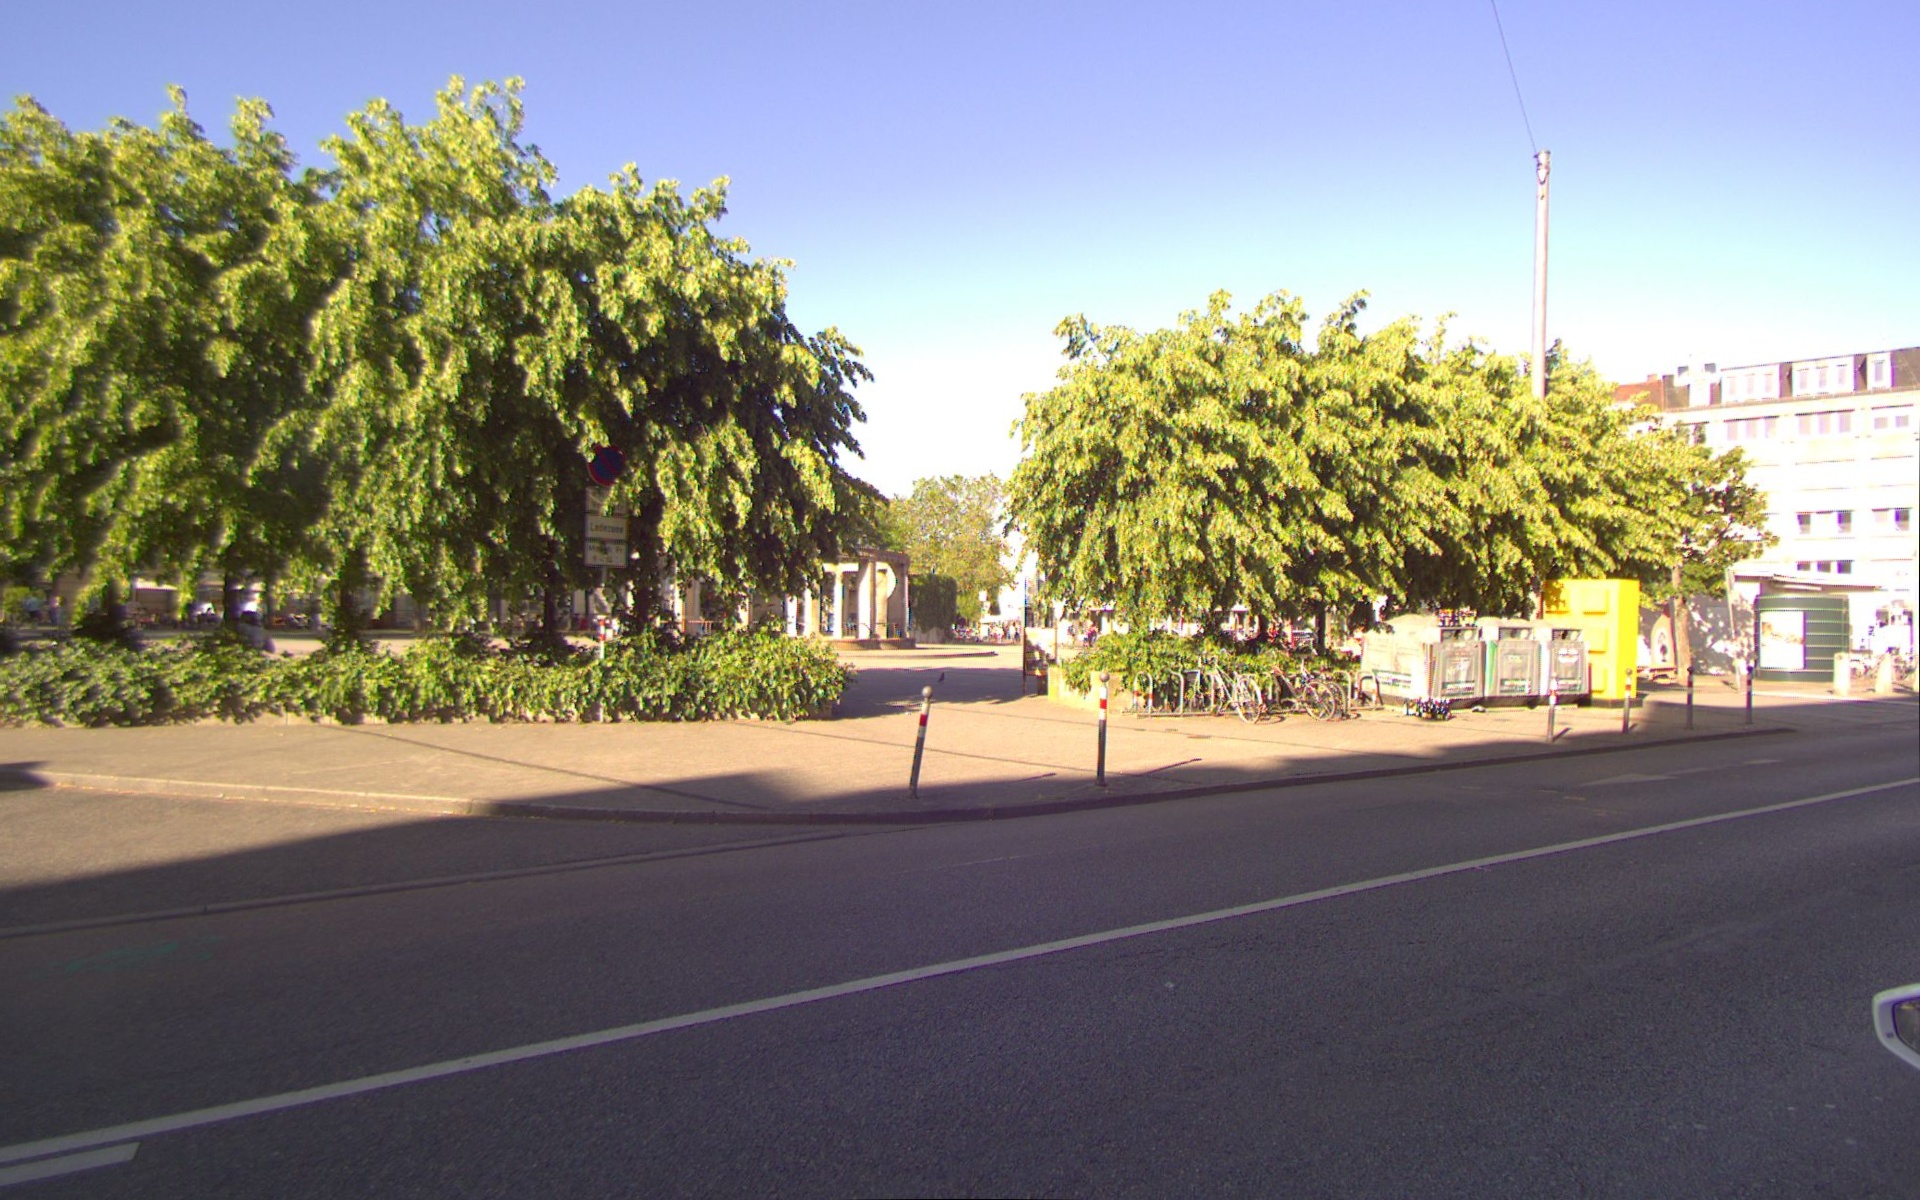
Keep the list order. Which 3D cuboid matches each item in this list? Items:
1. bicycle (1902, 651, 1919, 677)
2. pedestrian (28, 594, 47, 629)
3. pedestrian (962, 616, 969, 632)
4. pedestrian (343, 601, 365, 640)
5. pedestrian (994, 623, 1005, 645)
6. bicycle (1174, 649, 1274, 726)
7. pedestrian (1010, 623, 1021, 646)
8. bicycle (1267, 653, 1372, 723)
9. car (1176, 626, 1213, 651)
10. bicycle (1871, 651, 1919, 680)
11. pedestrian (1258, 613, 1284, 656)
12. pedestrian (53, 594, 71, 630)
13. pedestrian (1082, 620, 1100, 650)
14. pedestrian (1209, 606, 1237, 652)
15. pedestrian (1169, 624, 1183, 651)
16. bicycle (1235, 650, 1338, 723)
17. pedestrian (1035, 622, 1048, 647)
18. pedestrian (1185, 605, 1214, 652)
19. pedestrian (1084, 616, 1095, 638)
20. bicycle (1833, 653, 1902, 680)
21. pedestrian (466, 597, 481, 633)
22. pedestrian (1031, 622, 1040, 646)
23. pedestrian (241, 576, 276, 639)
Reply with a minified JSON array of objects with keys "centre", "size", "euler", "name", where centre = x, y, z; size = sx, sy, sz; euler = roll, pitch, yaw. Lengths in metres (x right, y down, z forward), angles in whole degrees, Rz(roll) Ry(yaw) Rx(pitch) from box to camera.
[{"centre":[35.166,2.339,36.061],"size":[0.599,0.946,1.854],"euler":[2,0,-30],"name":"bicycle"},{"centre":[-46.165,0.574,50.277],"size":[0.600,1.744,0.643],"euler":[2,0,45],"name":"pedestrian"},{"centre":[0.707,2.877,120.068],"size":[0.629,1.974,0.675],"euler":[2,0,-14],"name":"pedestrian"},{"centre":[-26.928,0.910,44.618],"size":[0.599,1.744,0.644],"euler":[2,0,37],"name":"pedestrian"},{"centre":[3.743,3.194,94.802],"size":[0.860,2.040,0.902],"euler":[2,0,-5],"name":"pedestrian"},{"centre":[4.072,1.330,15.657],"size":[0.508,1.029,1.930],"euler":[2,0,-19],"name":"bicycle"},{"centre":[4.582,2.876,83.113],"size":[0.718,1.862,0.697],"euler":[2,0,-5],"name":"pedestrian"},{"centre":[5.828,1.405,16.419],"size":[0.508,0.968,1.898],"euler":[2,0,-20],"name":"bicycle"},{"centre":[14.304,2.351,61.428],"size":[1.658,1.405,3.575],"euler":[1,-1,5],"name":"car"},{"centre":[33.186,2.297,35.119],"size":[0.599,0.946,1.855],"euler":[1,0,-30],"name":"bicycle"},{"centre":[12.894,1.419,41.614],"size":[0.774,1.720,0.763],"euler":[1,0,-6],"name":"pedestrian"},{"centre":[-45.111,0.598,50.462],"size":[0.600,1.744,0.643],"euler":[2,0,45],"name":"pedestrian"},{"centre":[9.050,2.392,69.575],"size":[1.014,2.040,1.159],"euler":[1,0,-5],"name":"pedestrian"},{"centre":[11.759,1.296,44.904],"size":[0.875,2.040,0.896],"euler":[1,0,-17],"name":"pedestrian"},{"centre":[14.219,2.437,66.125],"size":[0.741,1.740,0.854],"euler":[1,-1,4],"name":"pedestrian"},{"centre":[5.253,1.368,16.285],"size":[0.508,1.016,1.923],"euler":[2,0,-20],"name":"bicycle"},{"centre":[6.672,2.812,82.344],"size":[0.860,2.040,0.902],"euler":[2,0,-5],"name":"pedestrian"},{"centre":[10.593,1.243,44.428],"size":[0.875,2.040,0.896],"euler":[1,0,-17],"name":"pedestrian"},{"centre":[12.806,2.680,99.481],"size":[0.860,2.199,0.902],"euler":[2,0,-5],"name":"pedestrian"},{"centre":[30.821,2.250,34.131],"size":[0.600,0.802,1.634],"euler":[2,0,-33],"name":"bicycle"},{"centre":[-27.352,0.857,56.463],"size":[0.669,1.974,0.634],"euler":[2,0,-33],"name":"pedestrian"},{"centre":[6.385,2.887,84.847],"size":[0.628,1.974,0.676],"euler":[2,0,-7],"name":"pedestrian"},{"centre":[-19.595,0.204,28.040],"size":[0.599,1.744,0.644],"euler":[2,0,41],"name":"pedestrian"}]
